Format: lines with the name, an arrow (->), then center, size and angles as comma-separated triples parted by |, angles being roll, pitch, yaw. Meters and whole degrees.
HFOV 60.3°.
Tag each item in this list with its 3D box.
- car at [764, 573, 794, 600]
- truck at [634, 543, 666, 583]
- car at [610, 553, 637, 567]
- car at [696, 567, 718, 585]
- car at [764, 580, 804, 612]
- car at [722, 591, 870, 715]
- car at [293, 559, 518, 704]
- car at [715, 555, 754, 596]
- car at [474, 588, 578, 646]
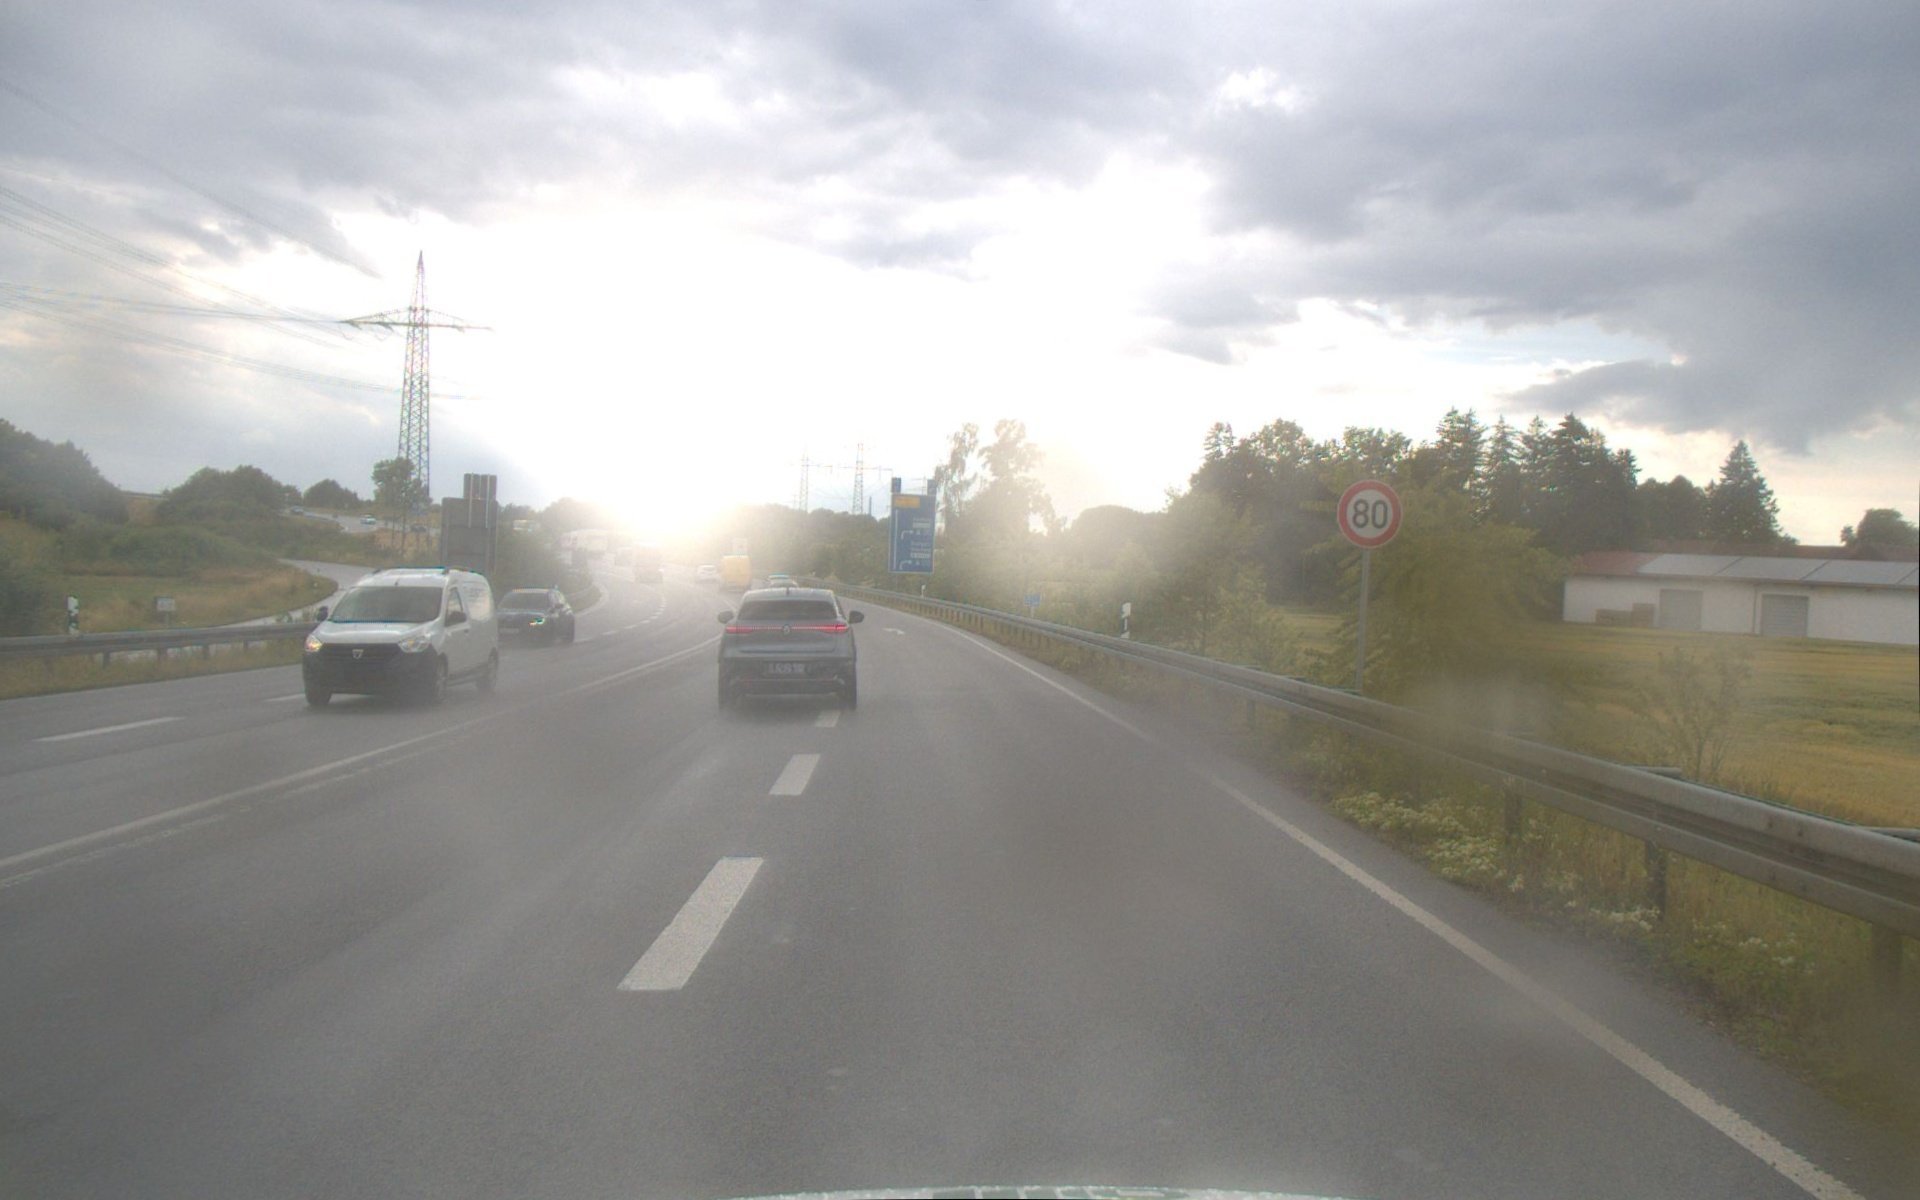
car -> -10.886, -0.811, 99.835 | 1.757, 1.568, 3.995 | 0, 1, -6
truck -> -27.013, -3.227, 143.812 | 2.437, 3.349, 7.258 | -1, 2, -12
car -> -39.075, -4.628, 191.933 | 1.775, 1.466, 3.956 | 4, 0, -33
car -> -21.728, -2.052, 142.100 | 1.759, 1.466, 3.990 | 1, 1, -11
car -> -8.455, -0.202, 79.234 | 1.758, 1.466, 3.992 | -1, 1, -9
car -> -2.184, 0.619, 21.946 | 1.757, 1.466, 3.995 | -1, 0, -6
car -> -7.506, 0.386, 22.824 | 1.755, 1.694, 4.367 | 4, 0, -3
car -> -16.160, -1.754, 119.031 | 2.524, 2.773, 7.186 | 2, 0, -6
car -> -11.507, 0.421, 44.150 | 1.859, 1.466, 4.895 | 0, 0, -5
